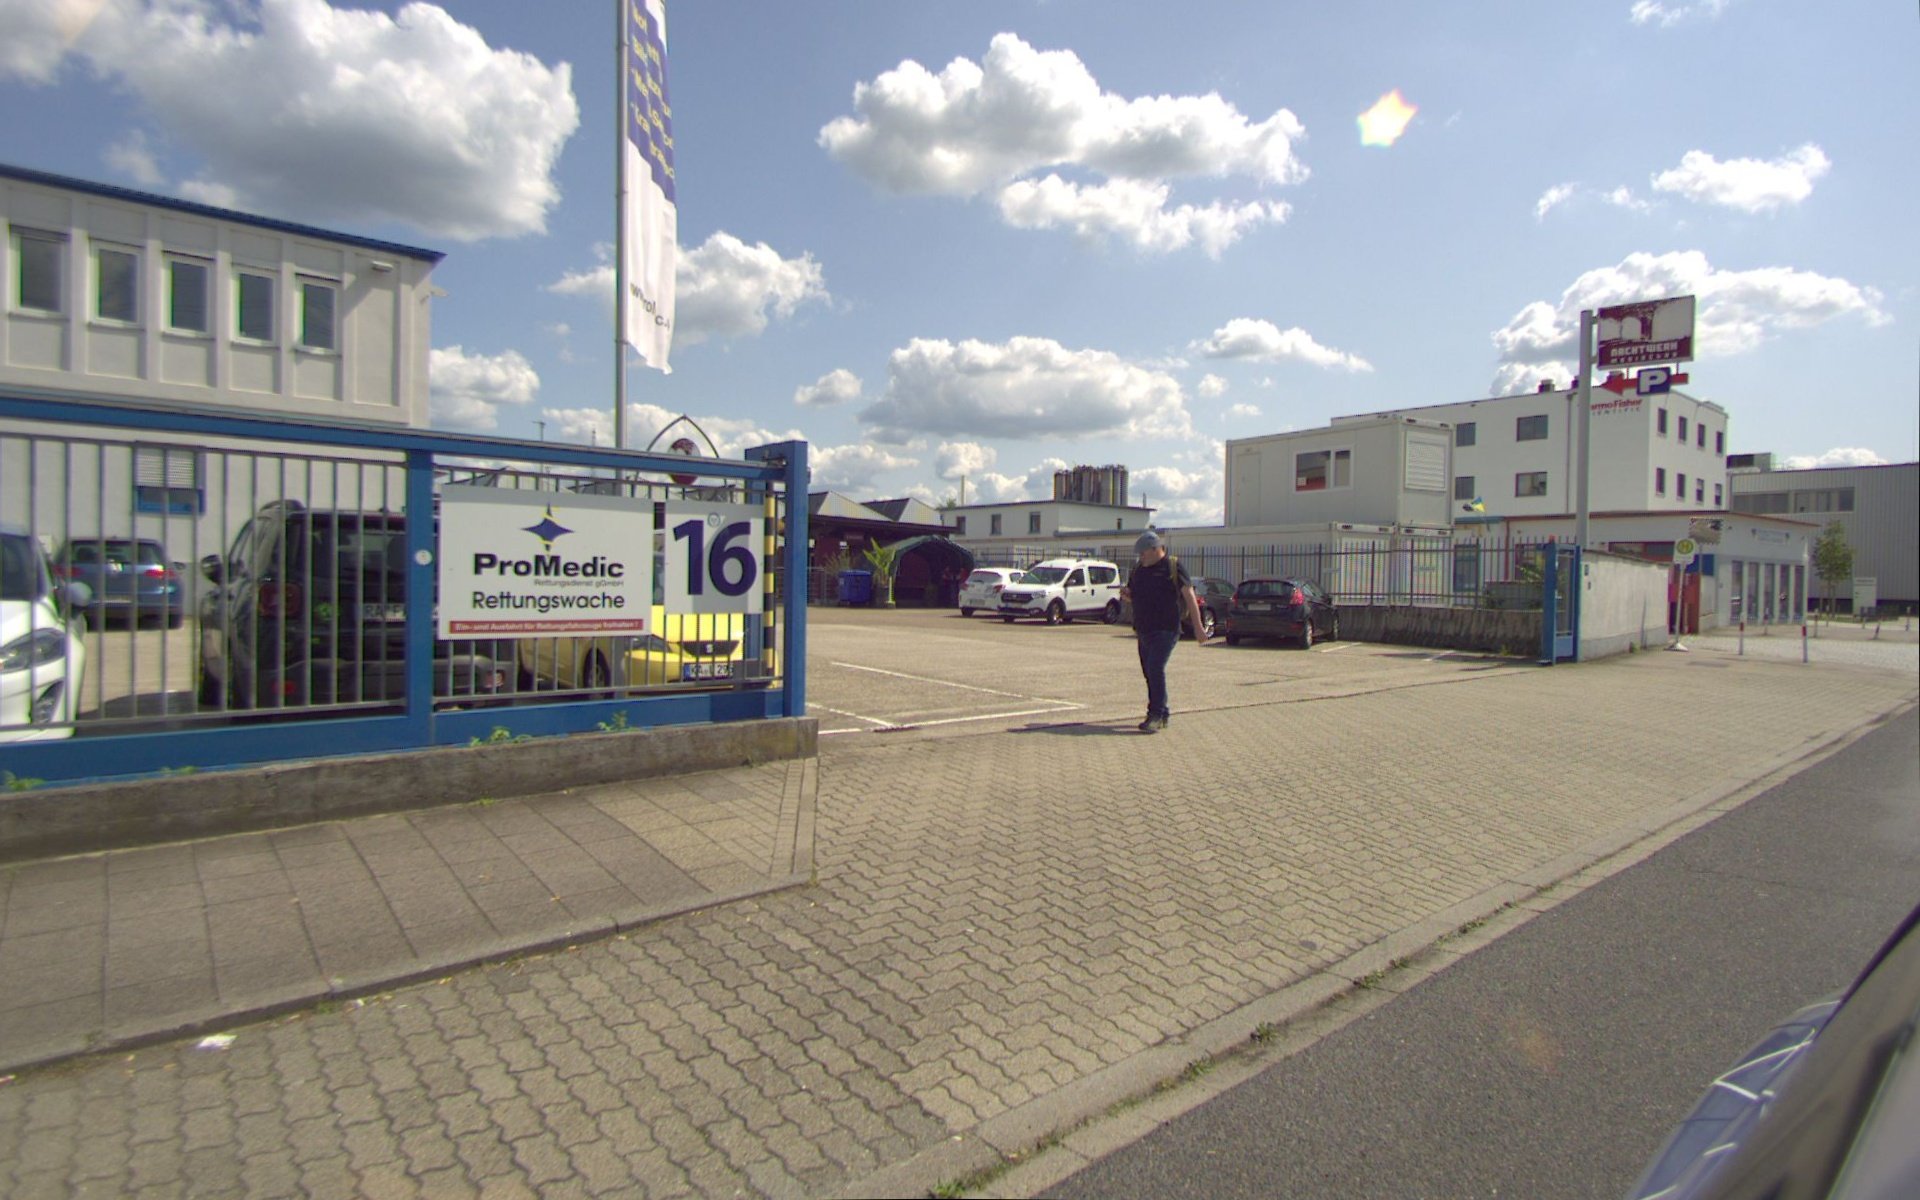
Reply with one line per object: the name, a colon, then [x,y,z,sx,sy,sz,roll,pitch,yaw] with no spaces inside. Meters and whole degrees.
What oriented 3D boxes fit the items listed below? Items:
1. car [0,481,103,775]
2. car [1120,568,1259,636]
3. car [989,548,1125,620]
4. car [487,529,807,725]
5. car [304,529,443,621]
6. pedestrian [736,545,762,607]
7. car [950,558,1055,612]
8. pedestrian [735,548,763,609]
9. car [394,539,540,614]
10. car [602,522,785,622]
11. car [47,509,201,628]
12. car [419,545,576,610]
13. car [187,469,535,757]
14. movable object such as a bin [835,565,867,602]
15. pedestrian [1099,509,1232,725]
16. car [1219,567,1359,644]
car: [-6.456,0.066,6.055,1.964,1.437,3.996,0,2,-40]
car: [5.401,-0.001,23.468,1.940,1.394,3.955,2,2,32]
car: [2.763,-0.461,27.987,1.685,1.829,4.218,2,2,39]
car: [-3.153,0.112,9.802,1.760,1.508,3.412,-1,4,-40]
car: [-10.942,-0.529,18.754,1.829,1.504,3.896,-1,4,-36]
pedestrian: [-5.812,-0.658,27.908,0.449,1.694,0.603,0,2,-43]
car: [1.367,-0.477,30.994,1.545,1.540,3.957,2,2,31]
pedestrian: [-5.634,-0.574,27.007,0.594,1.607,0.416,0,1,-40]
car: [-12.703,-0.584,26.162,3.109,1.791,1.415,-1,-1,-43]
car: [-6.007,-0.590,22.400,2.235,1.961,4.691,0,1,-38]
car: [-13.807,-0.518,16.723,1.775,1.711,3.995,0,2,-40]
car: [-10.951,-0.513,24.028,3.108,1.421,1.416,-1,-1,-41]
car: [-4.899,0.032,8.022,1.760,1.701,3.813,-1,1,-40]
movable object such as a bin: [-3.911,-0.609,36.350,1.009,1.309,0.601,1,1,-19]
pedestrian: [1.792,0.113,8.835,0.773,1.778,0.771,-1,3,-41]
car: [7.001,0.038,21.327,1.735,1.459,3.785,2,3,35]
